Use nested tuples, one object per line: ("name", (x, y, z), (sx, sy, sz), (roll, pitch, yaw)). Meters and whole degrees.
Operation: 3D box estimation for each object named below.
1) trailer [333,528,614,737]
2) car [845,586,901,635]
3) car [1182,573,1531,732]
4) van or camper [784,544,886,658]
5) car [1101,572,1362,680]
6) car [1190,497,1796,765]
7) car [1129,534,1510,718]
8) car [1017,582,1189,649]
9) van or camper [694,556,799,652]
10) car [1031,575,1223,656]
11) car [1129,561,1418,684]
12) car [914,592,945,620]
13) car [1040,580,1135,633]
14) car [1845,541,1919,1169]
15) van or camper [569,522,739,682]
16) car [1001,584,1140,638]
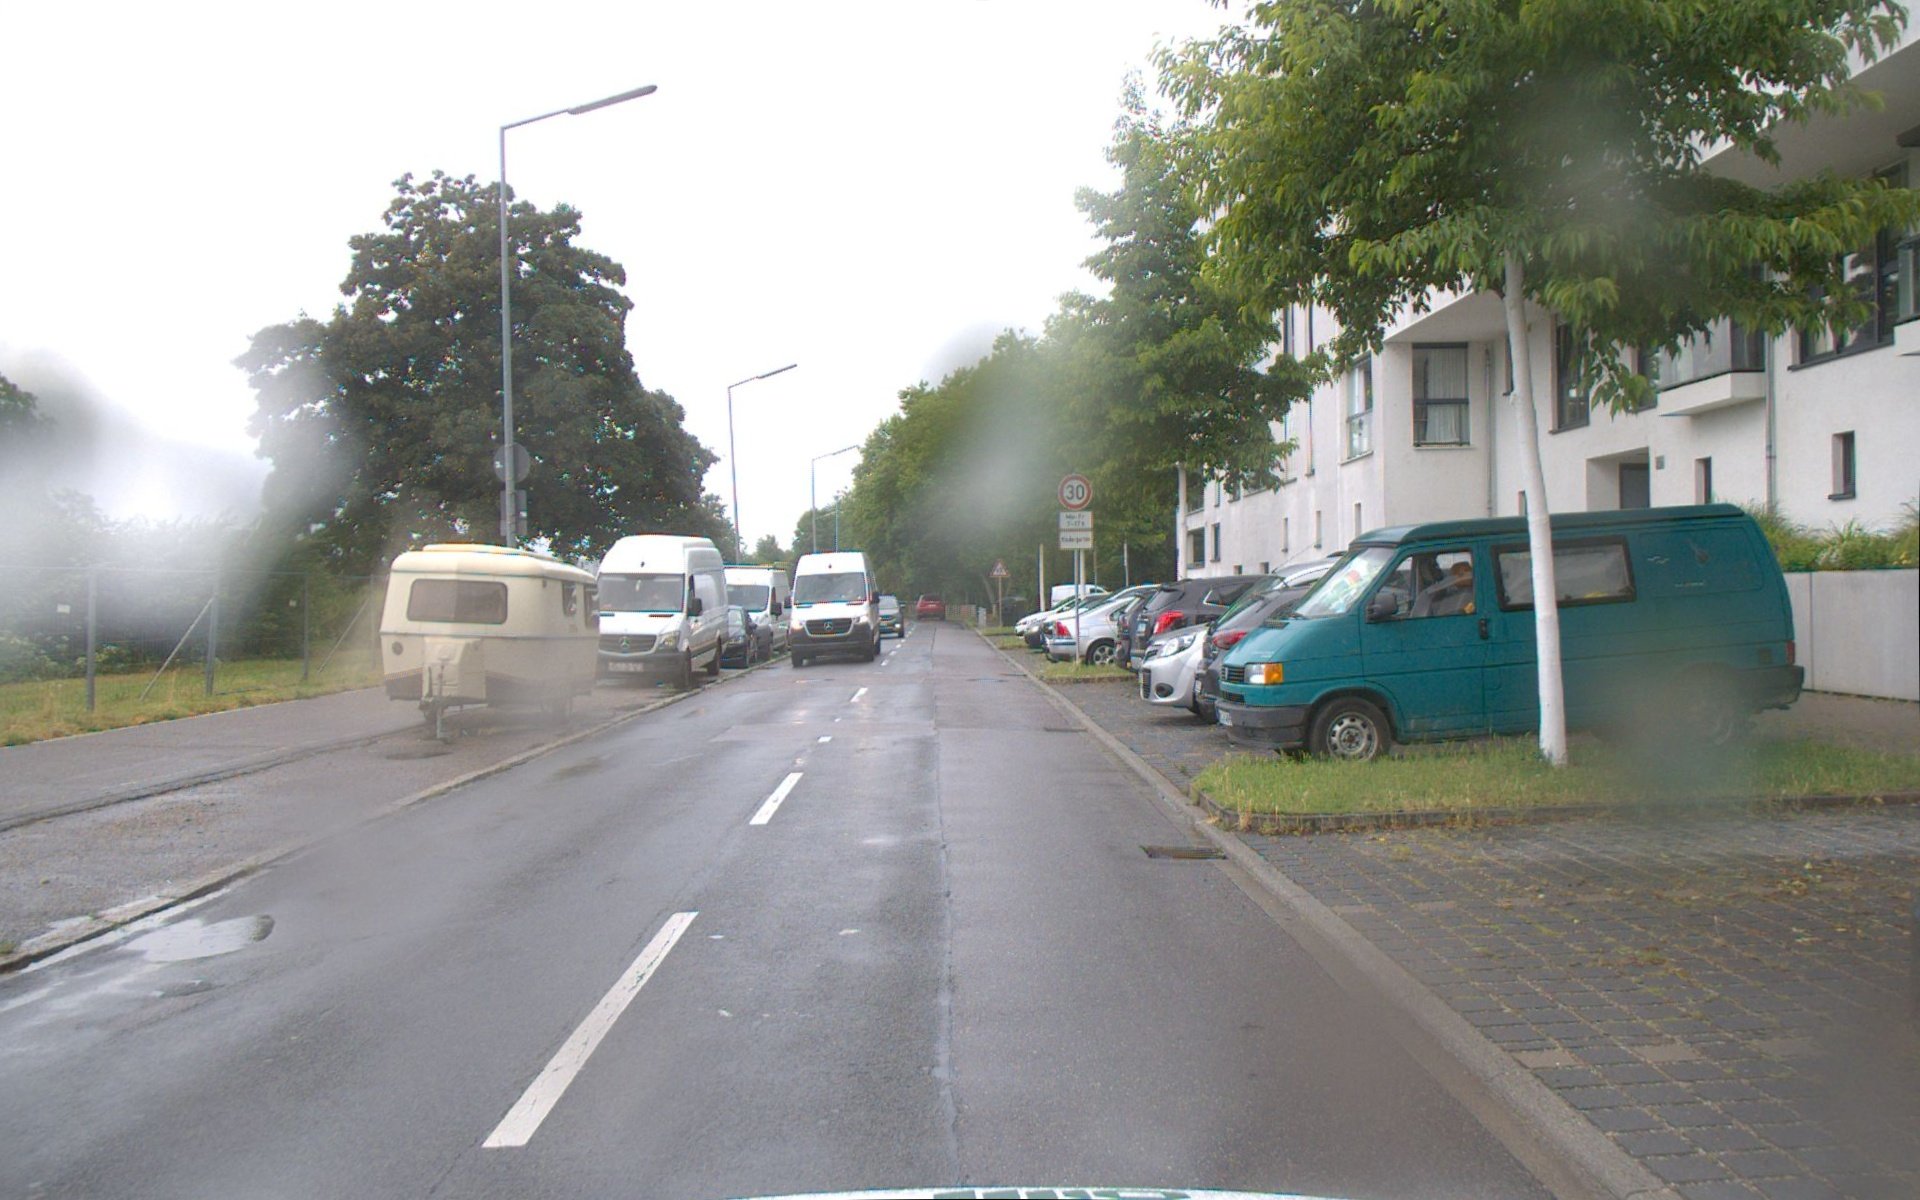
("trailer", (-5.912, 0.344, 20.943), (2.017, 2.256, 5.792), (1, 0, -2))
("car", (-3.231, 0.378, 62.329), (1.843, 1.788, 4.068), (-1, 0, 0))
("car", (3.943, 0.499, 16.703), (3.189, 1.508, 1.317), (-1, 0, -3))
("van or camper", (-3.021, 0.016, 41.289), (1.953, 2.541, 7.177), (-1, 0, 0))
("car", (4.339, 0.394, 26.767), (3.808, 1.628, 1.861), (-1, 0, -6))
("car", (4.386, 0.227, 14.017), (4.528, 2.055, 1.856), (-1, 0, -5))
("car", (4.073, 0.283, 19.193), (4.010, 1.927, 1.726), (-2, 0, 0))
("car", (3.726, 0.402, 43.659), (4.299, 1.662, 2.005), (-1, 0, -2))
("van or camper", (-5.964, 0.113, 46.987), (2.144, 2.505, 6.376), (1, 0, -1))
("car", (3.901, 0.350, 39.159), (4.299, 1.807, 2.005), (-1, 0, -2))
("car", (4.533, 0.300, 24.247), (3.808, 1.711, 1.861), (0, 0, -6))
("car", (-1.965, 0.407, 106.732), (1.719, 1.735, 4.001), (-1, 0, 2))
("car", (5.734, 0.276, 74.379), (3.904, 2.333, 1.777), (1, 0, 20))
("car", (4.313, 0.541, 3.565), (3.951, 1.525, 1.630), (-2, 0, -4))
("van or camper", (-5.940, 0.038, 33.188), (1.953, 2.810, 7.897), (1, 0, 0))
("car", (3.410, 0.319, 51.510), (4.015, 1.602, 1.865), (-1, 0, -8))
